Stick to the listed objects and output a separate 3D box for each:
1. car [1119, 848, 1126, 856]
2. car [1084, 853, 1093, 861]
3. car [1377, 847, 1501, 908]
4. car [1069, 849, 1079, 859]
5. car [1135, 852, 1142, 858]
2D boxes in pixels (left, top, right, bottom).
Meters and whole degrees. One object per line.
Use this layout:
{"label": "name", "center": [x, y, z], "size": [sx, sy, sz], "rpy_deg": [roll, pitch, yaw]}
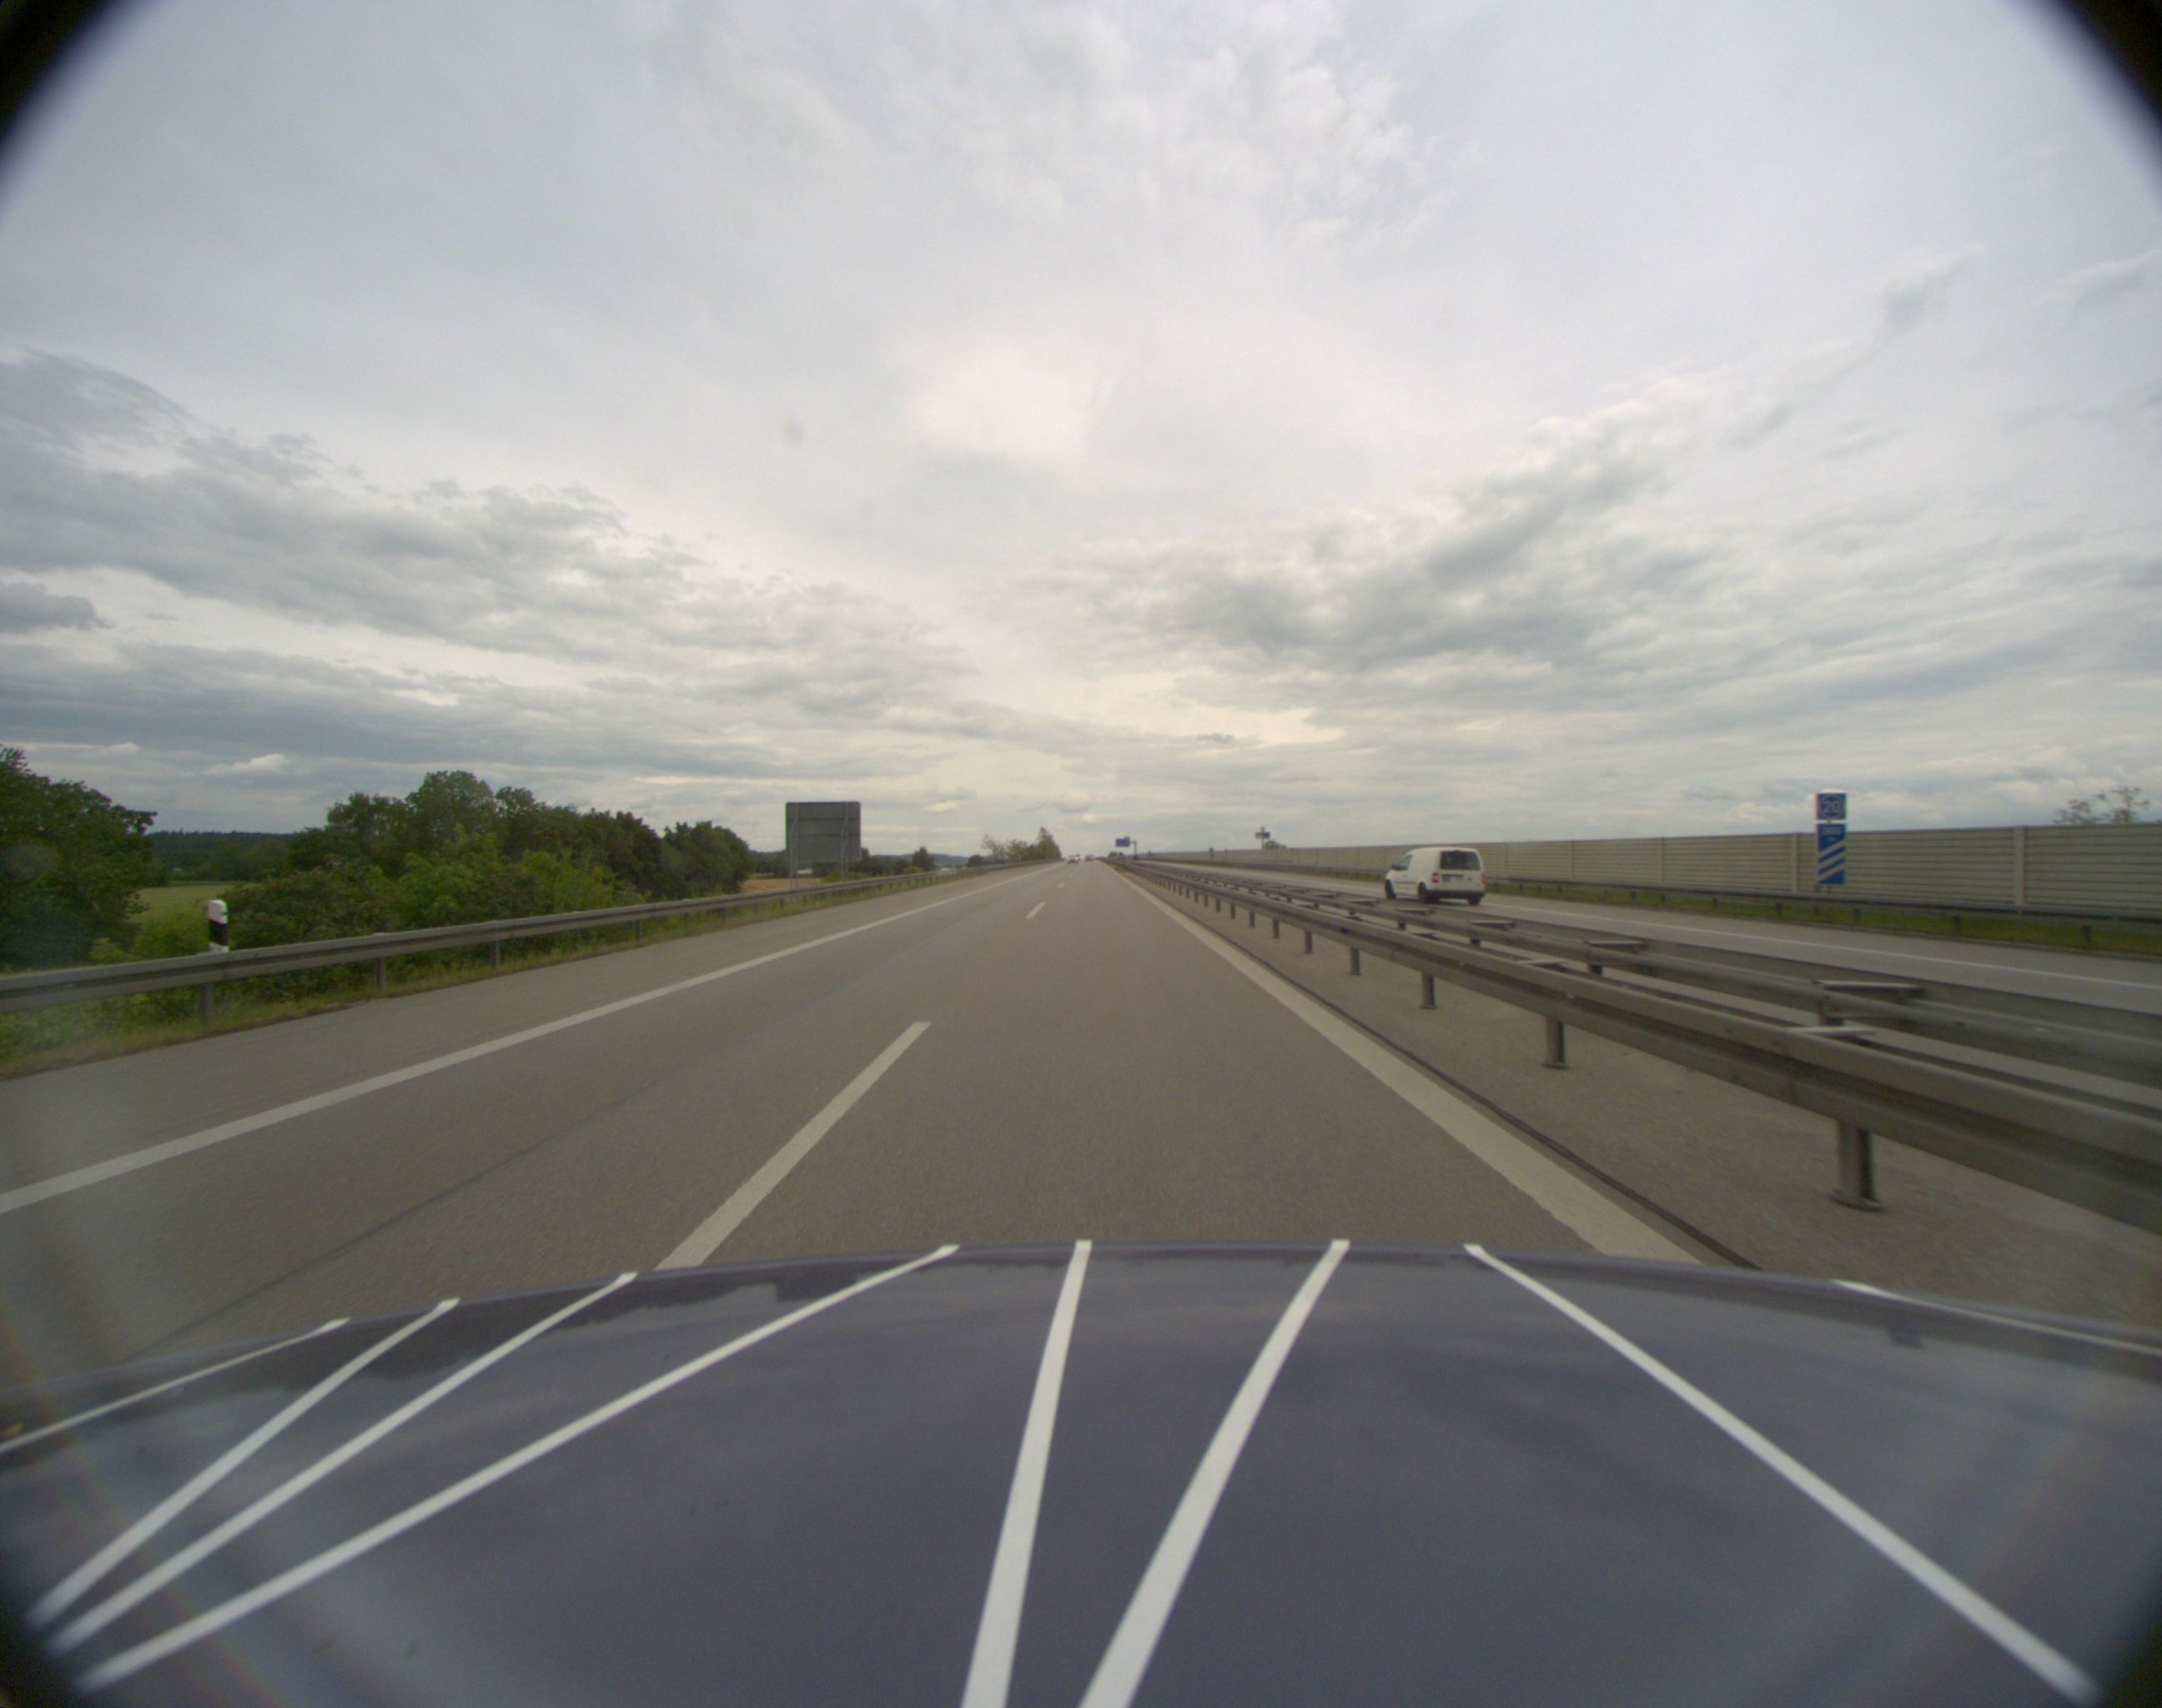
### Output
{"label": "car", "center": [14.176, -0.799, 258.813], "size": [2.075, 2.588, 6.289], "rpy_deg": [2, 0, 1]}
{"label": "car", "center": [1.740, 0.735, 176.176], "size": [1.851, 1.664, 4.200], "rpy_deg": [0, -2, -1]}
{"label": "car", "center": [11.514, 0.697, 24.898], "size": [1.760, 1.732, 4.914], "rpy_deg": [2, 0, 1]}
{"label": "car", "center": [-1.315, 0.045, 139.611], "size": [1.851, 1.664, 4.200], "rpy_deg": [0, -2, -1]}
{"label": "car", "center": [14.411, 0.276, 190.544], "size": [1.674, 1.378, 4.000], "rpy_deg": [1, 0, 1]}
